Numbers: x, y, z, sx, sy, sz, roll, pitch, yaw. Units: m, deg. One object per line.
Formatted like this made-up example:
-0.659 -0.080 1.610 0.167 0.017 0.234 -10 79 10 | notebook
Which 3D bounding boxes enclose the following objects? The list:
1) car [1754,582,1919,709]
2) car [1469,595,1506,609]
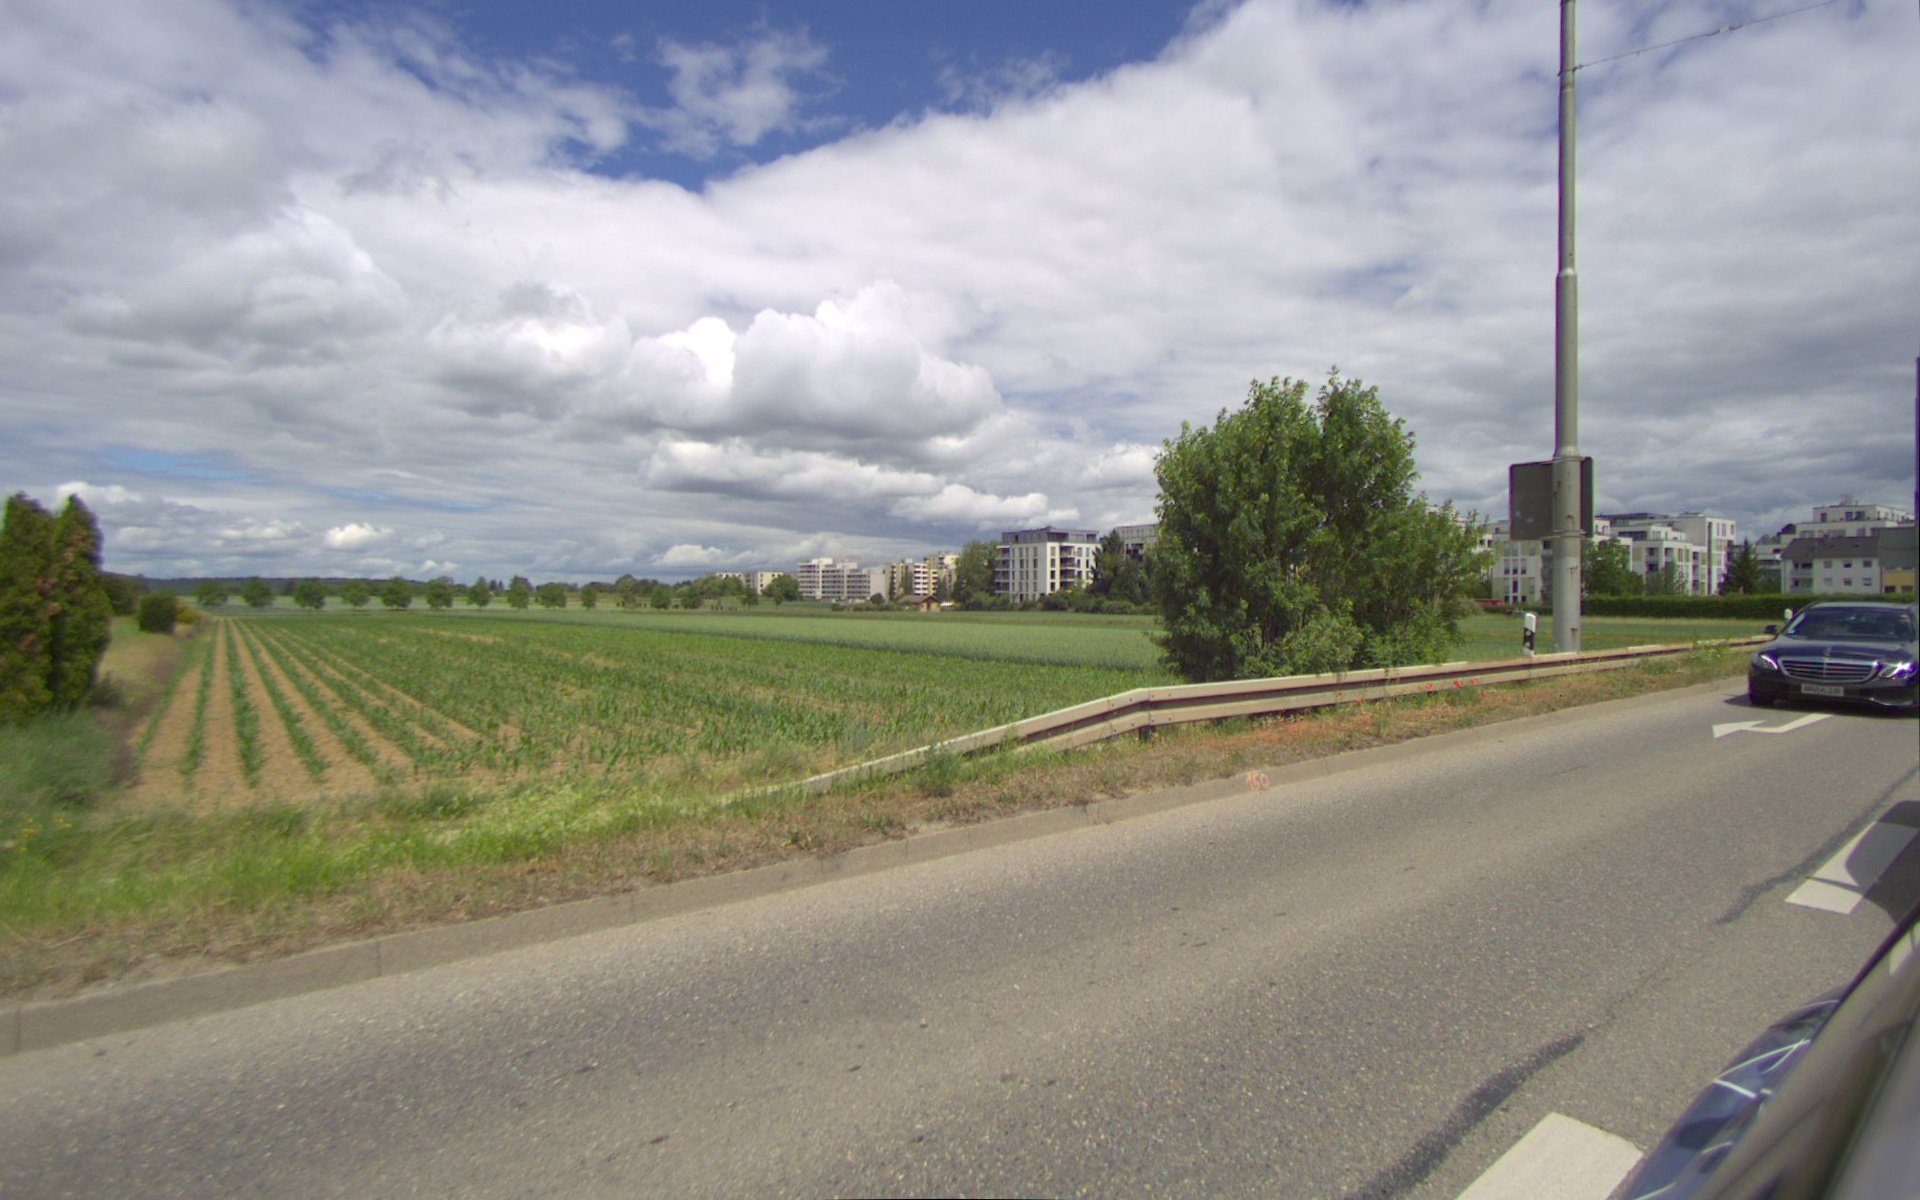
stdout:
13.138 0.625 14.556 4.720 1.558 1.841 2 -1 -41 | car
76.755 0.279 147.269 1.964 2.039 4.436 -1 1 -39 | car
